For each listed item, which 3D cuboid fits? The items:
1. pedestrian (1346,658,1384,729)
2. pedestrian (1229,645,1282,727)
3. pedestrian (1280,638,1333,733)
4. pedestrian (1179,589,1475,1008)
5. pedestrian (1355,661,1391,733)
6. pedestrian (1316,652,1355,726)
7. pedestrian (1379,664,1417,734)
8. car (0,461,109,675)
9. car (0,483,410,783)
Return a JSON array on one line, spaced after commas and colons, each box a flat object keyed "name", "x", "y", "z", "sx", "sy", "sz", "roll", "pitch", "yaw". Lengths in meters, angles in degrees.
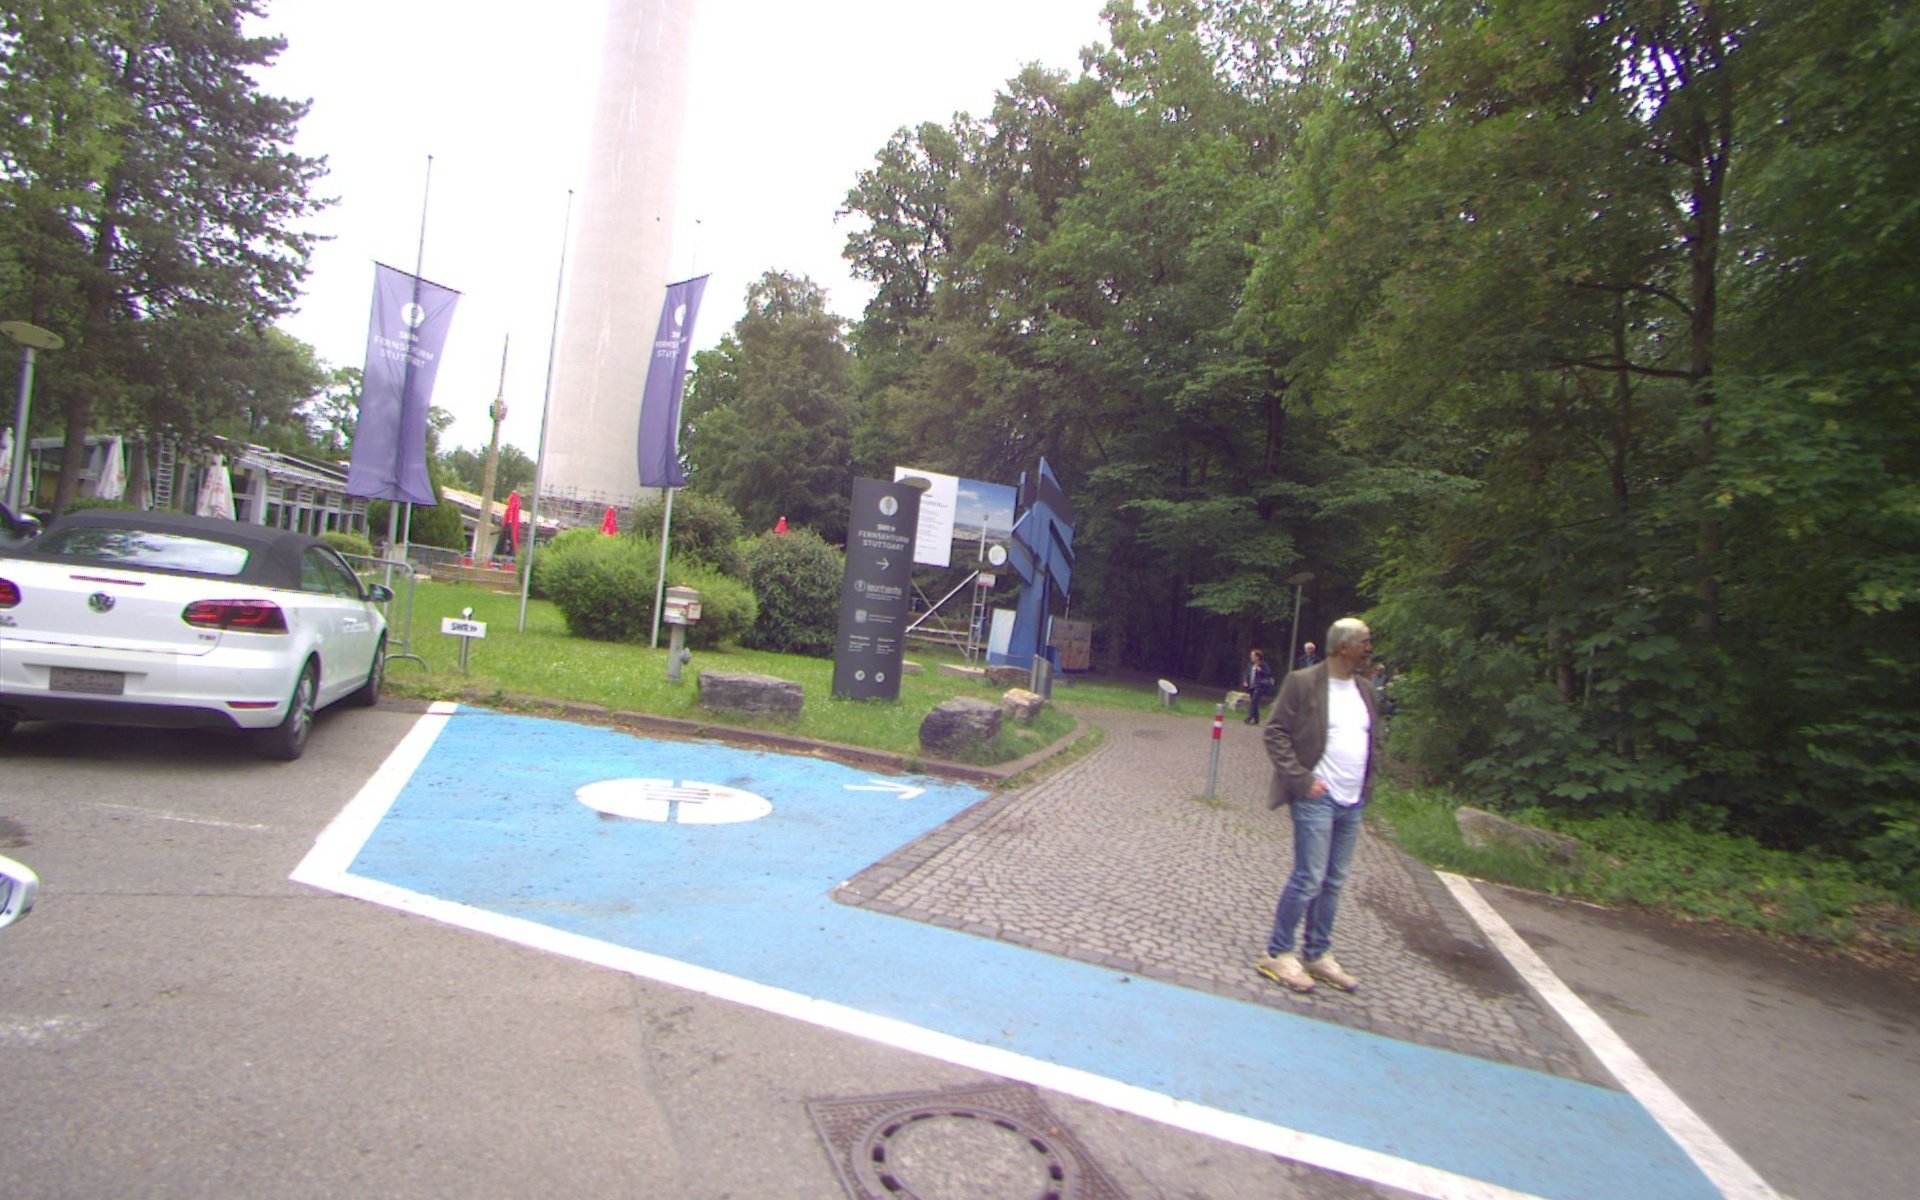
[{"name": "pedestrian", "x": 10.691, "y": 2.463, "z": 26.567, "sx": 0.670, "sy": 1.789, "sz": 0.713, "roll": 7, "pitch": 0, "yaw": 28}, {"name": "pedestrian", "x": 6.355, "y": 1.841, "z": 21.612, "sx": 0.766, "sy": 1.654, "sz": 0.636, "roll": 7, "pitch": 0, "yaw": 33}, {"name": "pedestrian", "x": 7.500, "y": 1.847, "z": 21.764, "sx": 0.722, "sy": 1.939, "sz": 0.666, "roll": 7, "pitch": 0, "yaw": 33}, {"name": "pedestrian", "x": 1.682, "y": 0.868, "z": 4.749, "sx": 0.752, "sy": 1.746, "sz": 0.894, "roll": 7, "pitch": 0, "yaw": -14}, {"name": "pedestrian", "x": 10.355, "y": 2.417, "z": 25.202, "sx": 0.598, "sy": 1.694, "sz": 0.604, "roll": 7, "pitch": 0, "yaw": 28}, {"name": "pedestrian", "x": 9.569, "y": 2.263, "z": 25.627, "sx": 0.672, "sy": 1.783, "sz": 0.604, "roll": 7, "pitch": 0, "yaw": 28}, {"name": "pedestrian", "x": 11.271, "y": 2.537, "z": 25.884, "sx": 0.670, "sy": 1.694, "sz": 0.662, "roll": 7, "pitch": 0, "yaw": 28}, {"name": "car", "x": -7.869, "y": -0.329, "z": 6.790, "sx": 1.873, "sy": 1.604, "sz": 3.981, "roll": 8, "pitch": -1, "yaw": -21}, {"name": "car", "x": -5.306, "y": 0.112, "z": 7.055, "sx": 1.873, "sy": 1.445, "sz": 3.981, "roll": 8, "pitch": -1, "yaw": -21}]
